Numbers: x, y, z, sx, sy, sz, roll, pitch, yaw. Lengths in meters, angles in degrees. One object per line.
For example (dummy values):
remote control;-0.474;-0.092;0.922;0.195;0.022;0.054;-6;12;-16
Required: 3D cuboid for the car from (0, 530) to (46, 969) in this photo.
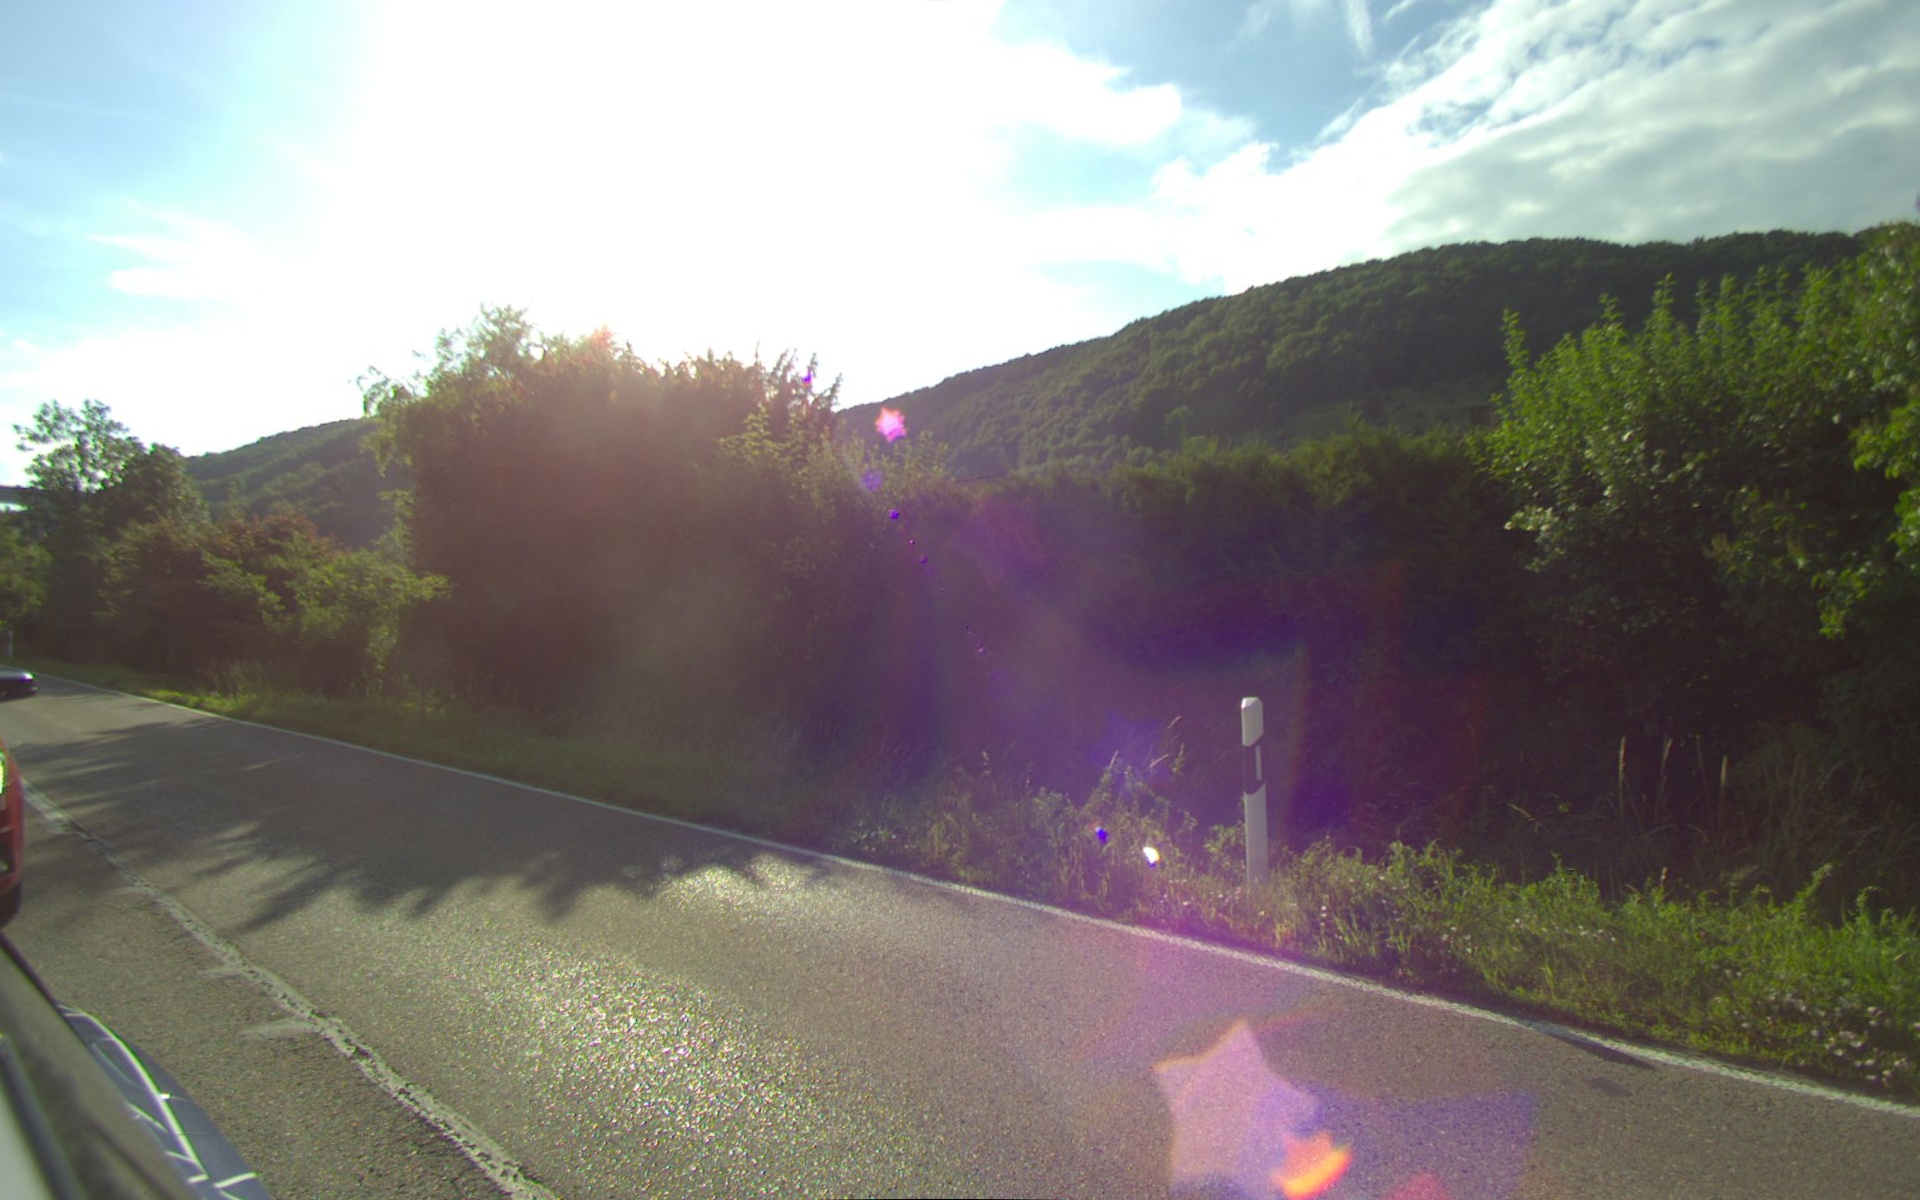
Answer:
car;-6.084;0.667;5.060;4.286;1.823;1.731;-1;1;41
